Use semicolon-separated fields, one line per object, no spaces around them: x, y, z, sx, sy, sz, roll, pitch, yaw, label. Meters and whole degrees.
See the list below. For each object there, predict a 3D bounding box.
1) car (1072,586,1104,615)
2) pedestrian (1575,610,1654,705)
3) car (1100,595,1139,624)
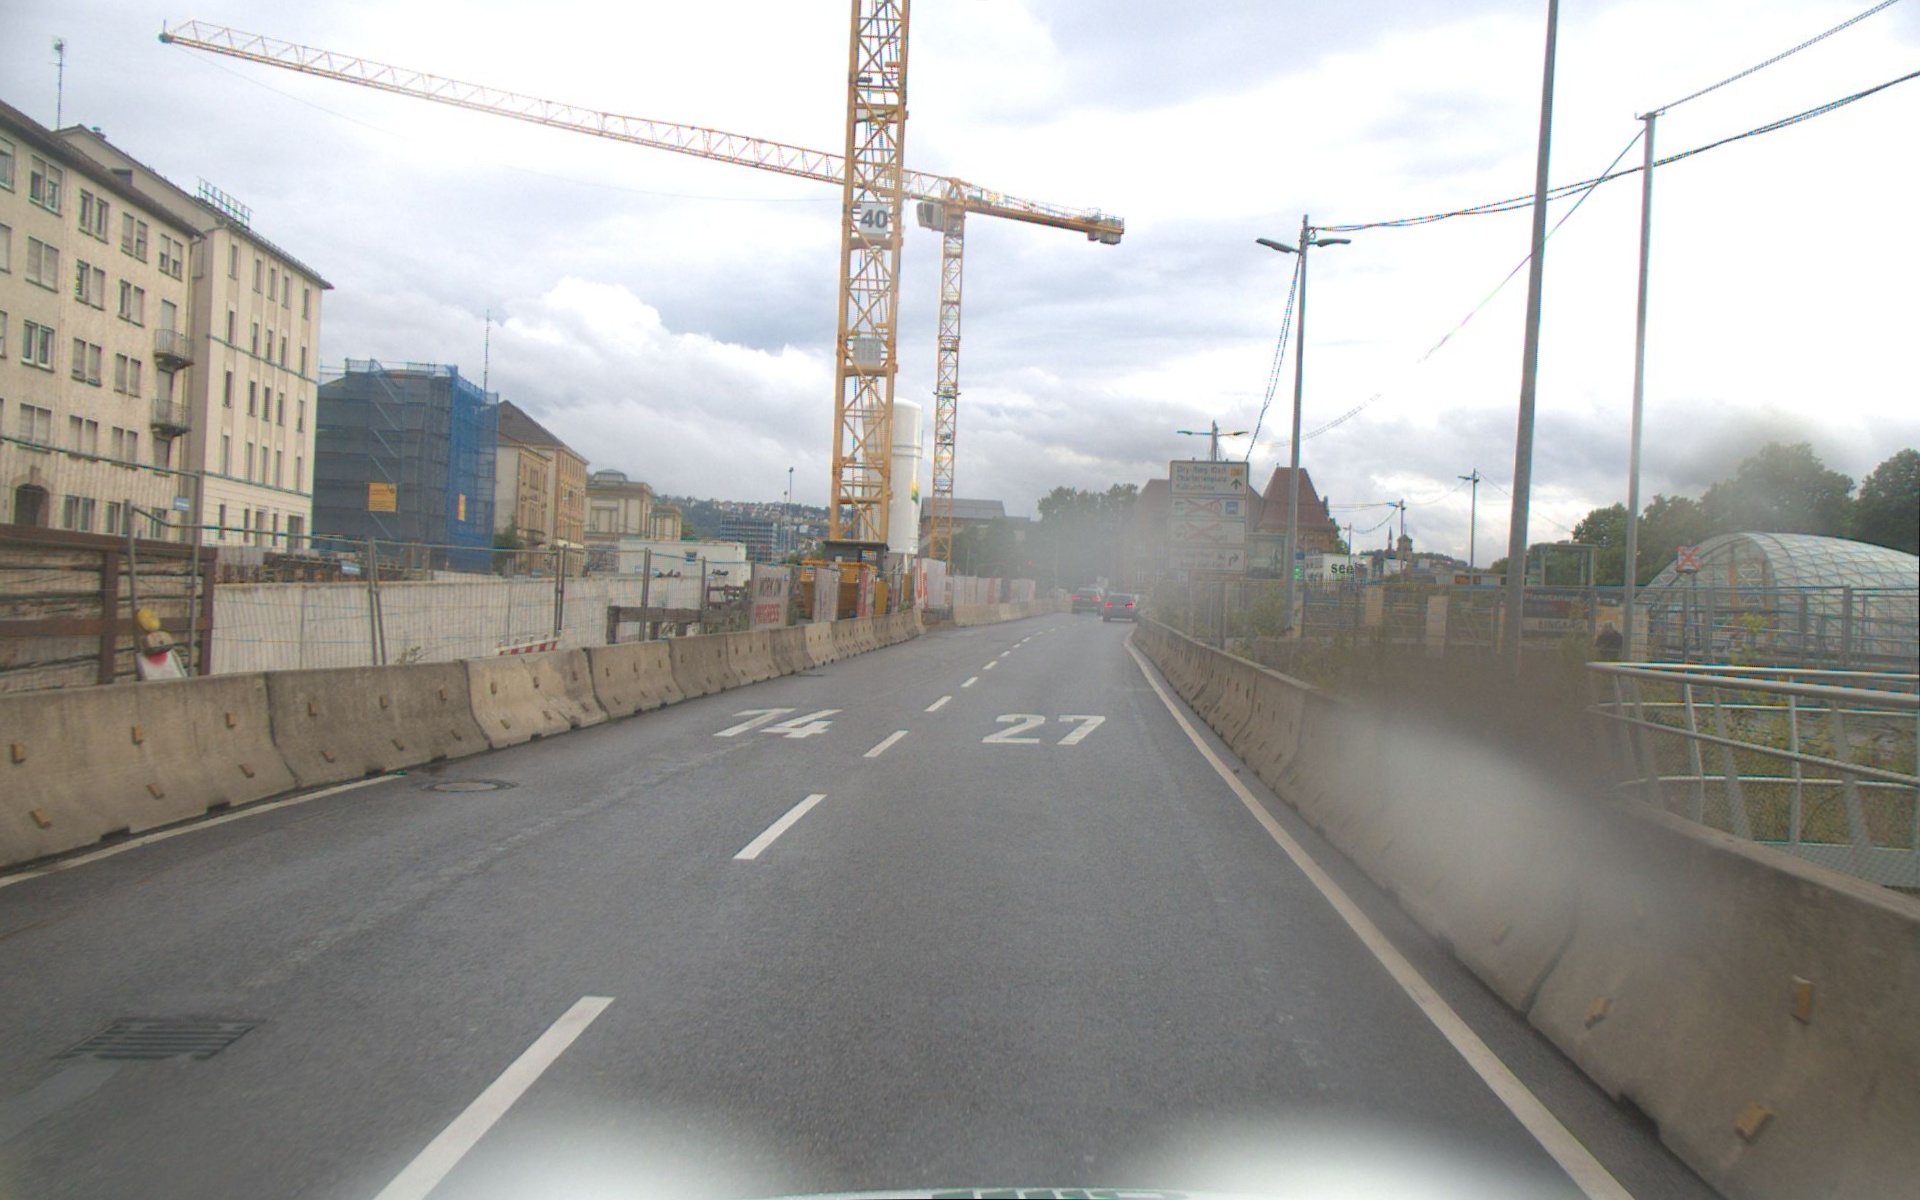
8.222;0.025;105.928;1.823;1.689;4.660;2;0;7;car
11.943;1.041;30.192;1.006;1.687;0.892;1;-1;-25;pedestrian
8.344;0.495;86.897;1.824;1.458;4.658;1;0;3;car
